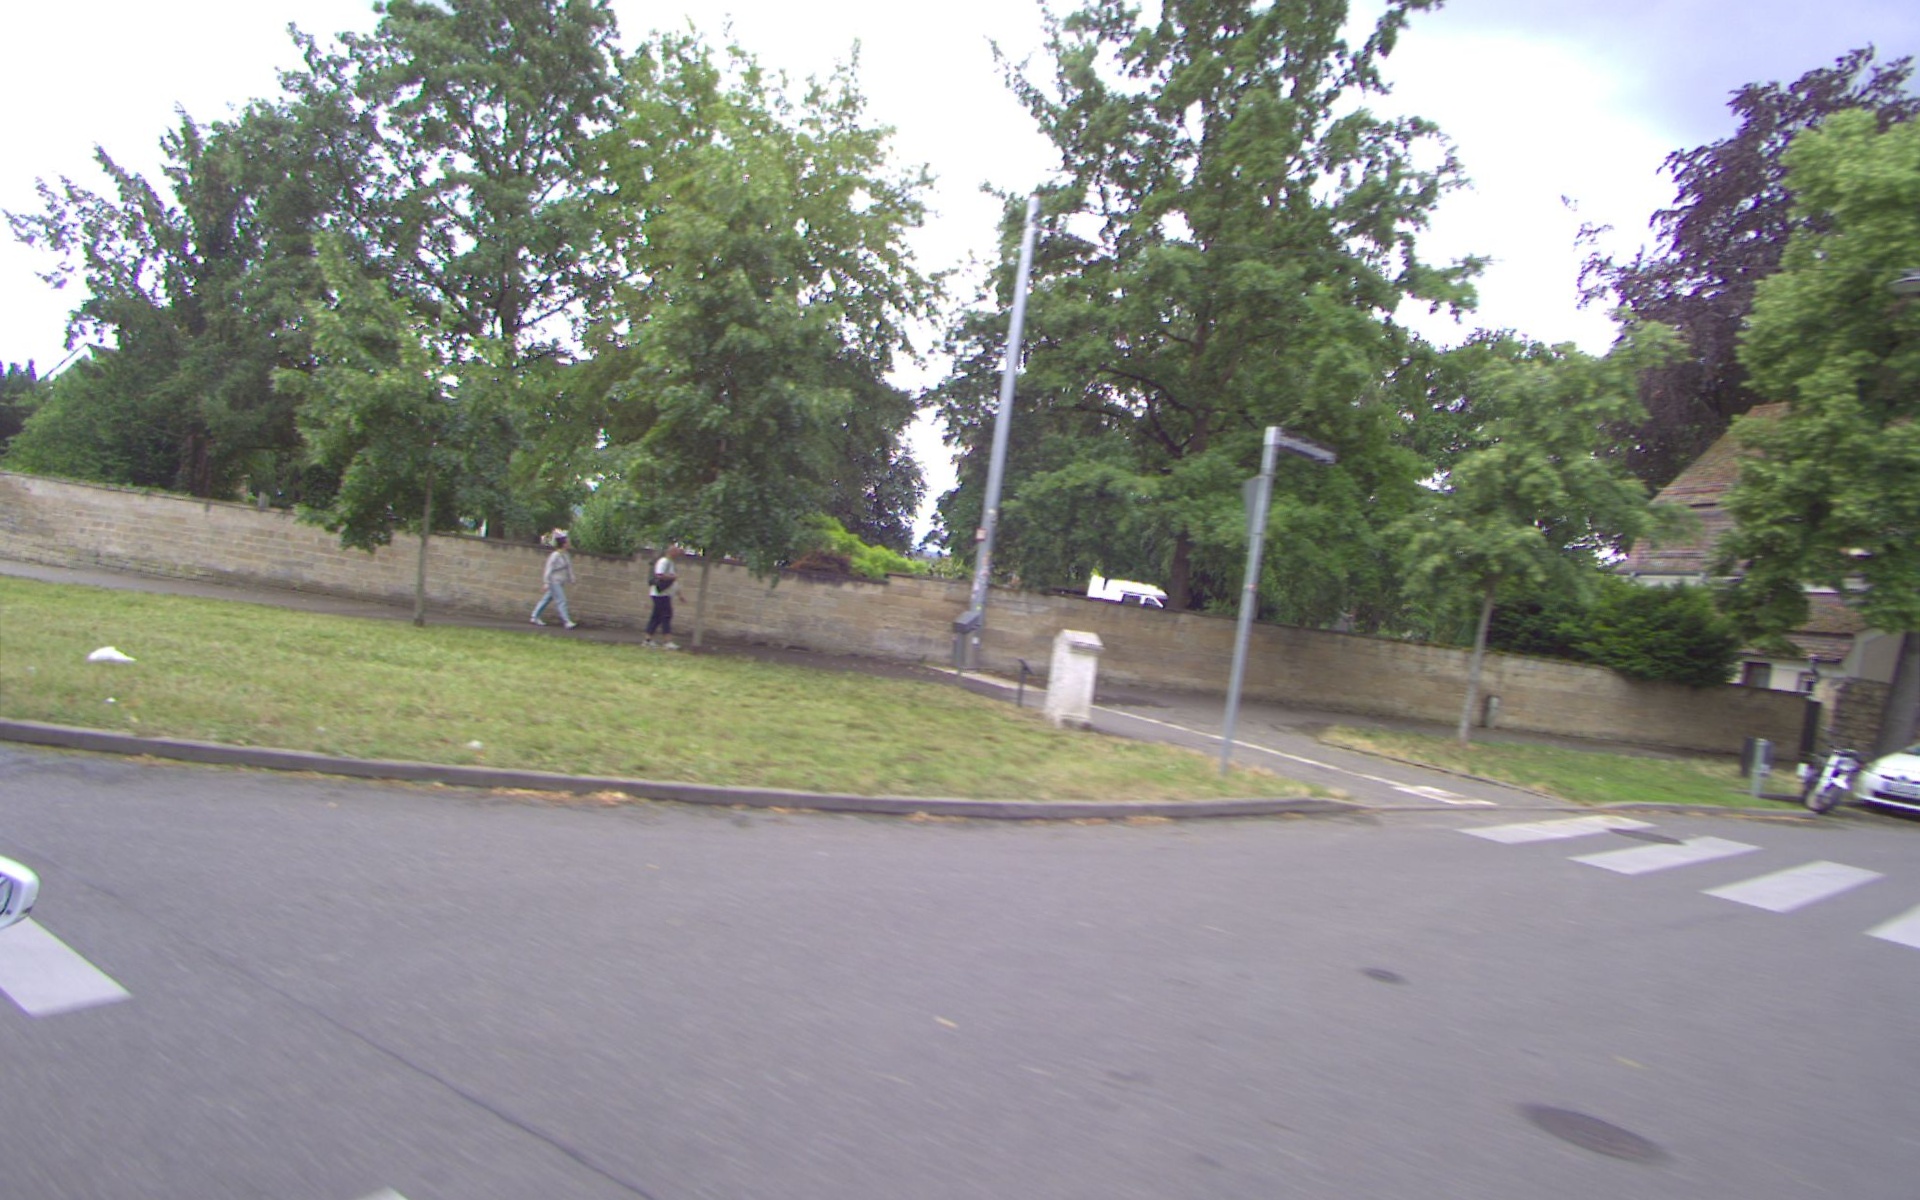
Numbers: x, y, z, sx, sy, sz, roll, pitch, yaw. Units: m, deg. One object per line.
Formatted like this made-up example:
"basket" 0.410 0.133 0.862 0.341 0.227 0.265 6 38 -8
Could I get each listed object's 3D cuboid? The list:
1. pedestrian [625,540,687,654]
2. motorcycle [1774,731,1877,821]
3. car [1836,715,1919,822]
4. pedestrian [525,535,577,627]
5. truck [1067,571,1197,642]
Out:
"pedestrian" -4.993 -0.044 16.573 0.649 1.756 0.711 7 1 -6
"motorcycle" 13.379 2.688 15.610 0.550 1.182 2.000 6 -3 24
"car" 16.898 2.929 16.426 4.212 1.517 1.806 7 0 -16
"pedestrian" -7.483 -0.346 18.421 0.564 1.606 0.580 6 3 -1
"truck" 8.378 0.291 49.438 5.683 2.867 2.215 5 -3 40
